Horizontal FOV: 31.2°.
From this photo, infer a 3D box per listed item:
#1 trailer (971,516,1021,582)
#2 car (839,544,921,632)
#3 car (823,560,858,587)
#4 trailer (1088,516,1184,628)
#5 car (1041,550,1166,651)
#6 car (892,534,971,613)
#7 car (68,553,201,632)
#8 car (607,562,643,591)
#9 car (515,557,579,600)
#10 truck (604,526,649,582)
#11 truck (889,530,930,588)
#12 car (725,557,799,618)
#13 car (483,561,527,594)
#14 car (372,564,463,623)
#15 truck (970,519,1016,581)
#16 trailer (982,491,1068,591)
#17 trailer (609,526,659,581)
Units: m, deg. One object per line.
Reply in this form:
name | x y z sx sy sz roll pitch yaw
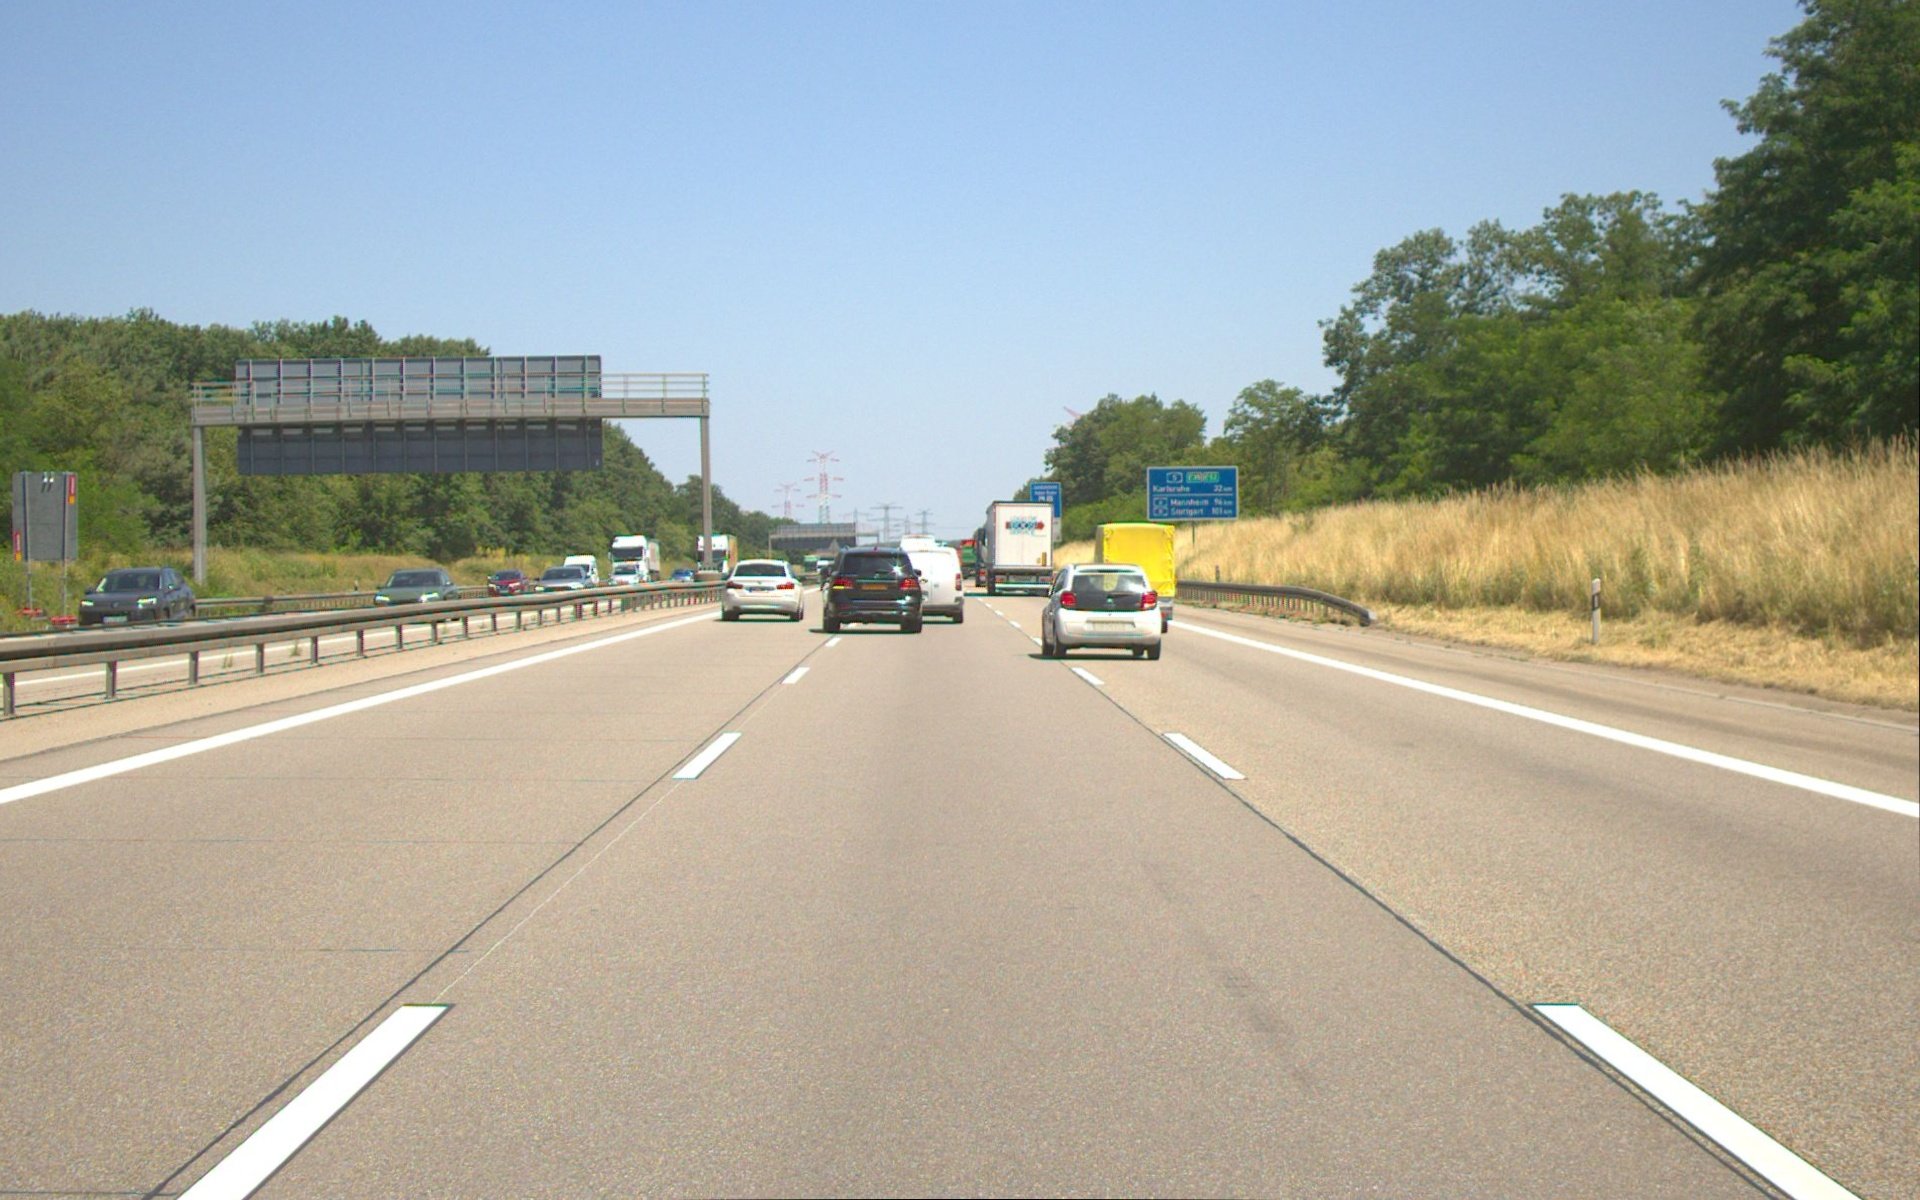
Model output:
trailer | 2.136 -3.046 209.169 2.682 3.824 12.011 1 0 -1
car | -1.621 -0.254 70.657 1.626 1.749 3.805 0 1 0
car | -5.870 -1.302 169.333 1.607 1.296 3.674 0 1 0
trailer | 3.672 -0.586 72.203 1.703 2.282 3.840 1 0 -2
car | 2.177 -0.012 53.079 1.708 1.490 4.024 0 1 0
car | -0.705 -0.626 82.539 1.814 1.821 5.111 0 0 -1
car | -18.322 -0.200 76.477 1.794 1.613 4.987 -3 1 -1
car | -18.910 -1.326 194.068 1.646 1.494 4.561 -3 1 -1
car | -15.273 -0.809 127.243 1.794 1.469 4.987 -3 1 -1
truck | -24.574 -3.389 253.556 2.625 3.935 6.483 -3 1 -1
truck | -2.589 -2.062 176.506 2.060 2.904 7.003 0 0 -1
car | -4.758 -0.323 82.800 1.669 1.396 3.713 -1 1 -2
car | -23.616 -1.171 178.439 1.646 1.585 4.612 -3 1 -1
car | -14.188 -0.190 90.101 1.698 1.424 4.574 -3 1 -1
truck | 2.038 -3.092 215.016 2.682 3.824 4.444 1 0 -1
trailer | 2.794 -2.556 153.049 3.286 4.205 13.566 1 0 -1
trailer | -24.623 -3.493 259.800 2.625 3.935 11.158 -3 1 -1
